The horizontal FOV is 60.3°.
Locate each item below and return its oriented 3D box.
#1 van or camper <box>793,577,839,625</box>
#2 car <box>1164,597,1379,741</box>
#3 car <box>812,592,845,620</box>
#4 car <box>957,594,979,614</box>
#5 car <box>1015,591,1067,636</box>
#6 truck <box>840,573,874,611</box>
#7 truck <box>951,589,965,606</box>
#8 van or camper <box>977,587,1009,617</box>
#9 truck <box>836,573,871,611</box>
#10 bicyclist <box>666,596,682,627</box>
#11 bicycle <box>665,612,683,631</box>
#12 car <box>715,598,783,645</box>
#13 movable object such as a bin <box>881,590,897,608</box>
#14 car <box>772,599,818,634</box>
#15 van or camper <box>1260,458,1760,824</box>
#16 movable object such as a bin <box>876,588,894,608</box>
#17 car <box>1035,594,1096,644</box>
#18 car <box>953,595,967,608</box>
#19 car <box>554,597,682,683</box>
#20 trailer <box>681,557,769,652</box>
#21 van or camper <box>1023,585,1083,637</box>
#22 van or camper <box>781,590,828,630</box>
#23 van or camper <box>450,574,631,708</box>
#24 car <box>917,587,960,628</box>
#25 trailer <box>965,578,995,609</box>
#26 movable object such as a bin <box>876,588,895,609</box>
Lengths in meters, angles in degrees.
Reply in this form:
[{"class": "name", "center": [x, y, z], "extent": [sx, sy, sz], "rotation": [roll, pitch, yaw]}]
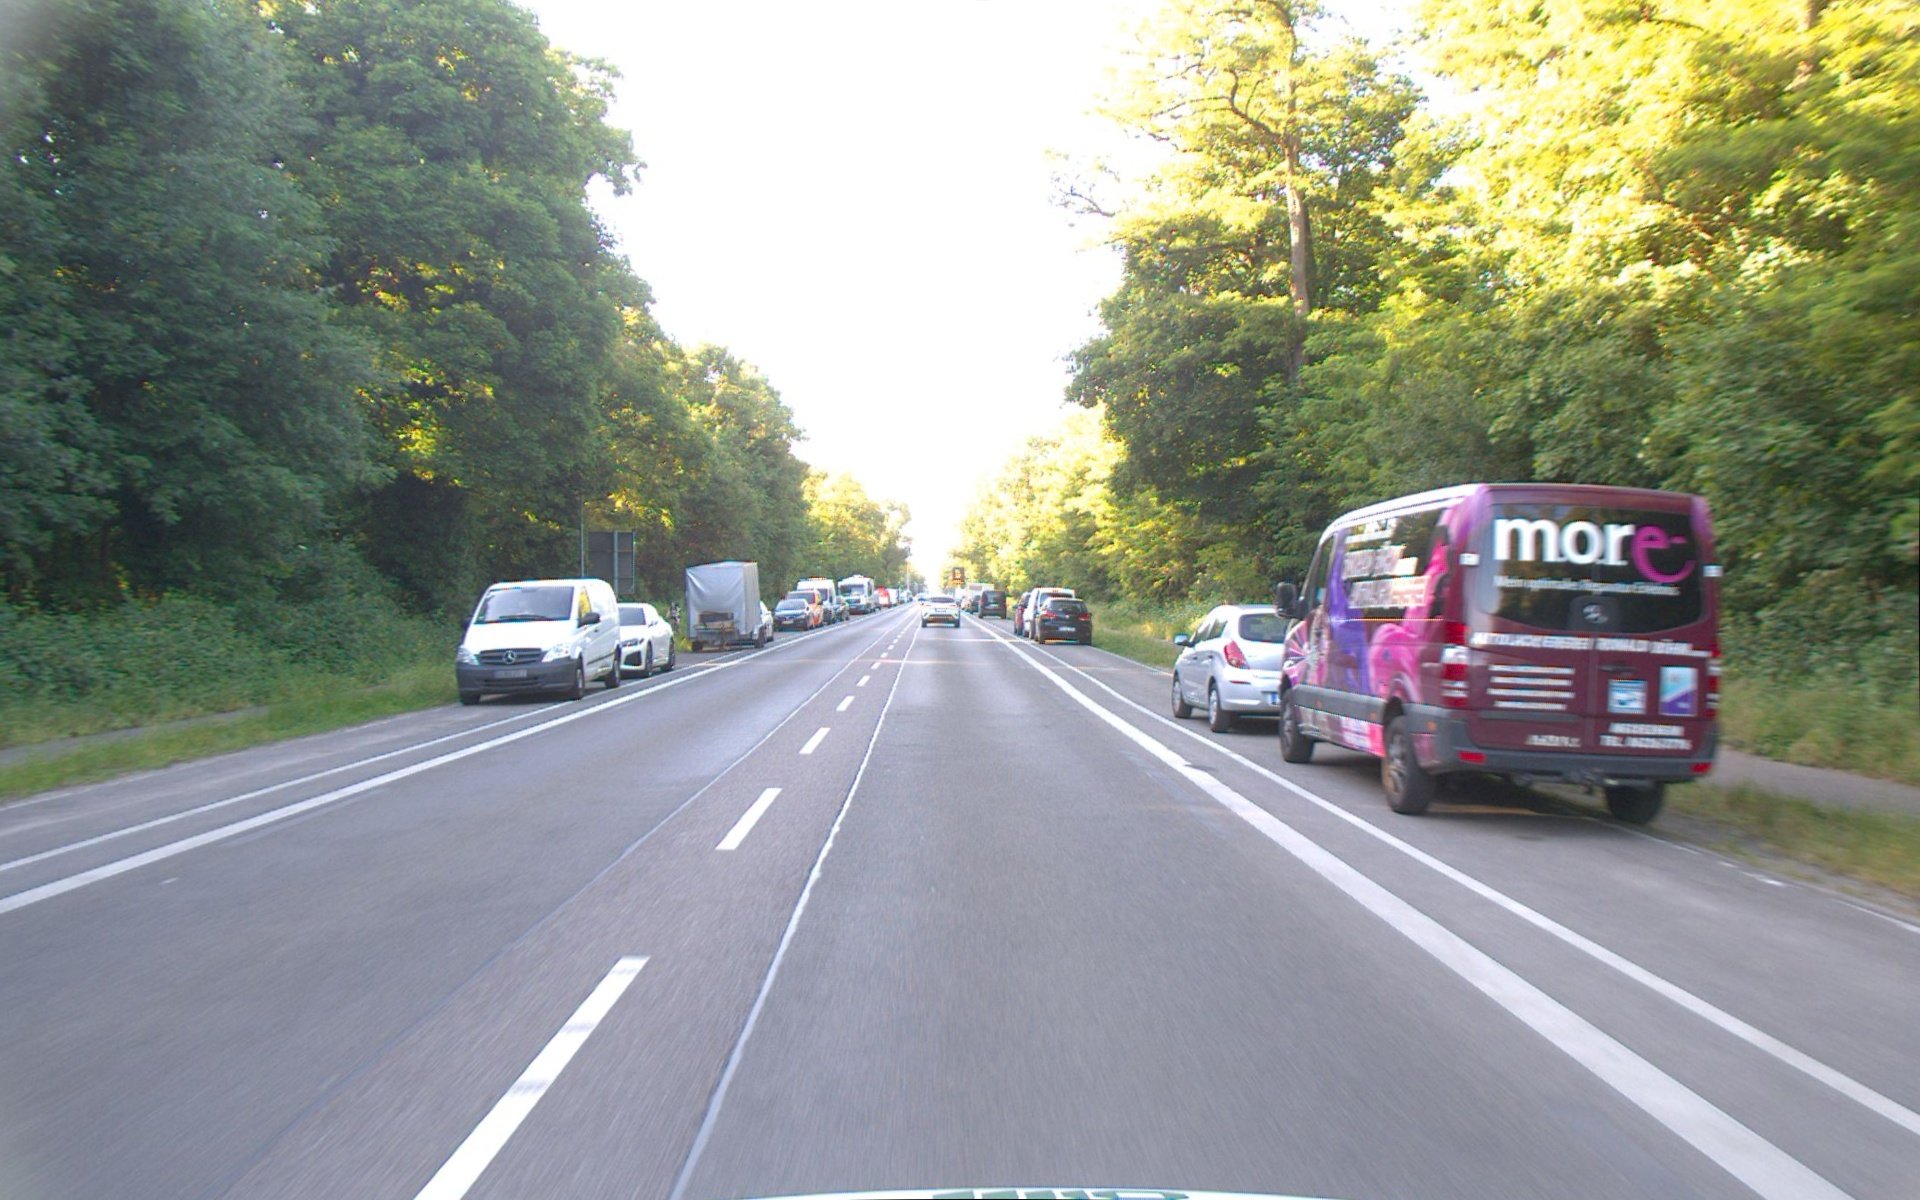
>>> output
[{"class": "van or camper", "center": [-8.193, 0.043, 94.531], "extent": [2.077, 2.617, 6.541], "rotation": [-1, 0, -1]}, {"class": "car", "center": [3.791, 0.783, 20.778], "extent": [1.712, 1.542, 3.998], "rotation": [3, 0, -3]}, {"class": "car", "center": [-8.460, 0.367, 106.408], "extent": [1.745, 1.713, 4.377], "rotation": [-2, 0, -1]}, {"class": "car", "center": [0.635, 0.318, 137.004], "extent": [1.803, 1.691, 4.000], "rotation": [0, 0, 0]}, {"class": "car", "center": [3.180, 0.511, 65.727], "extent": [1.797, 1.689, 4.337], "rotation": [2, 0, -1]}, {"class": "truck", "center": [-9.578, -0.751, 154.515], "extent": [2.652, 3.406, 10.921], "rotation": [0, 0, -1]}, {"class": "truck", "center": [-0.377, -0.429, 249.773], "extent": [2.054, 2.495, 5.679], "rotation": [0, 0, -1]}, {"class": "van or camper", "center": [2.253, 0.145, 113.679], "extent": [1.953, 1.966, 5.198], "rotation": [1, 0, -1]}, {"class": "truck", "center": [-9.153, -0.672, 142.809], "extent": [2.652, 3.148, 7.988], "rotation": [0, 0, -1]}, {"class": "bicyclist", "center": [-11.529, 0.469, 66.749], "extent": [0.477, 1.256, 0.974], "rotation": [0, 0, -1]}, {"class": "bicycle", "center": [-11.540, 0.875, 66.782], "extent": [0.511, 0.725, 1.487], "rotation": [0, 0, -1]}, {"class": "car", "center": [-7.208, 0.701, 56.959], "extent": [1.761, 1.479, 4.624], "rotation": [-2, 0, -1]}, {"class": "movable object such as a bin", "center": [-10.264, -0.133, 238.835], "extent": [2.275, 2.545, 3.999], "rotation": [0, 0, -1]}, {"class": "car", "center": [-7.627, 0.719, 76.605], "extent": [1.696, 1.504, 4.323], "rotation": [-2, 0, -1]}, {"class": "van or camper", "center": [4.142, 0.241, 13.813], "extent": [1.994, 2.352, 6.039], "rotation": [-1, 0, -2]}, {"class": "movable object such as a bin", "center": [-9.835, -0.238, 216.520], "extent": [2.275, 2.545, 3.999], "rotation": [0, 0, -1]}, {"class": "car", "center": [3.421, 0.587, 54.023], "extent": [1.656, 1.551, 4.149], "rotation": [1, 0, -1]}, {"class": "car", "center": [0.019, 0.178, 194.760], "extent": [1.622, 1.504, 3.753], "rotation": [0, 0, -1]}, {"class": "car", "center": [-6.943, 0.765, 34.023], "extent": [1.738, 1.567, 4.523], "rotation": [-2, 0, -1]}, {"class": "trailer", "center": [-7.024, 0.131, 49.793], "extent": [1.953, 2.643, 4.415], "rotation": [-2, 0, -1]}, {"class": "van or camper", "center": [3.353, 0.387, 60.408], "extent": [1.911, 1.847, 4.380], "rotation": [0, 0, -1]}, {"class": "van or camper", "center": [-7.791, 0.471, 83.343], "extent": [1.884, 1.899, 4.862], "rotation": [-2, 0, -1]}, {"class": "van or camper", "center": [-6.740, 0.599, 27.123], "extent": [1.798, 1.945, 4.854], "rotation": [-2, 0, -2]}, {"class": "car", "center": [-1.008, 0.337, 77.985], "extent": [1.987, 1.872, 4.028], "rotation": [0, 0, -1]}, {"class": "trailer", "center": [1.890, -0.617, 158.661], "extent": [2.701, 2.920, 6.587], "rotation": [0, 0, -1]}, {"class": "movable object such as a bin", "center": [-9.078, -0.182, 201.822], "extent": [2.275, 2.545, 3.999], "rotation": [0, 0, -1]}]
